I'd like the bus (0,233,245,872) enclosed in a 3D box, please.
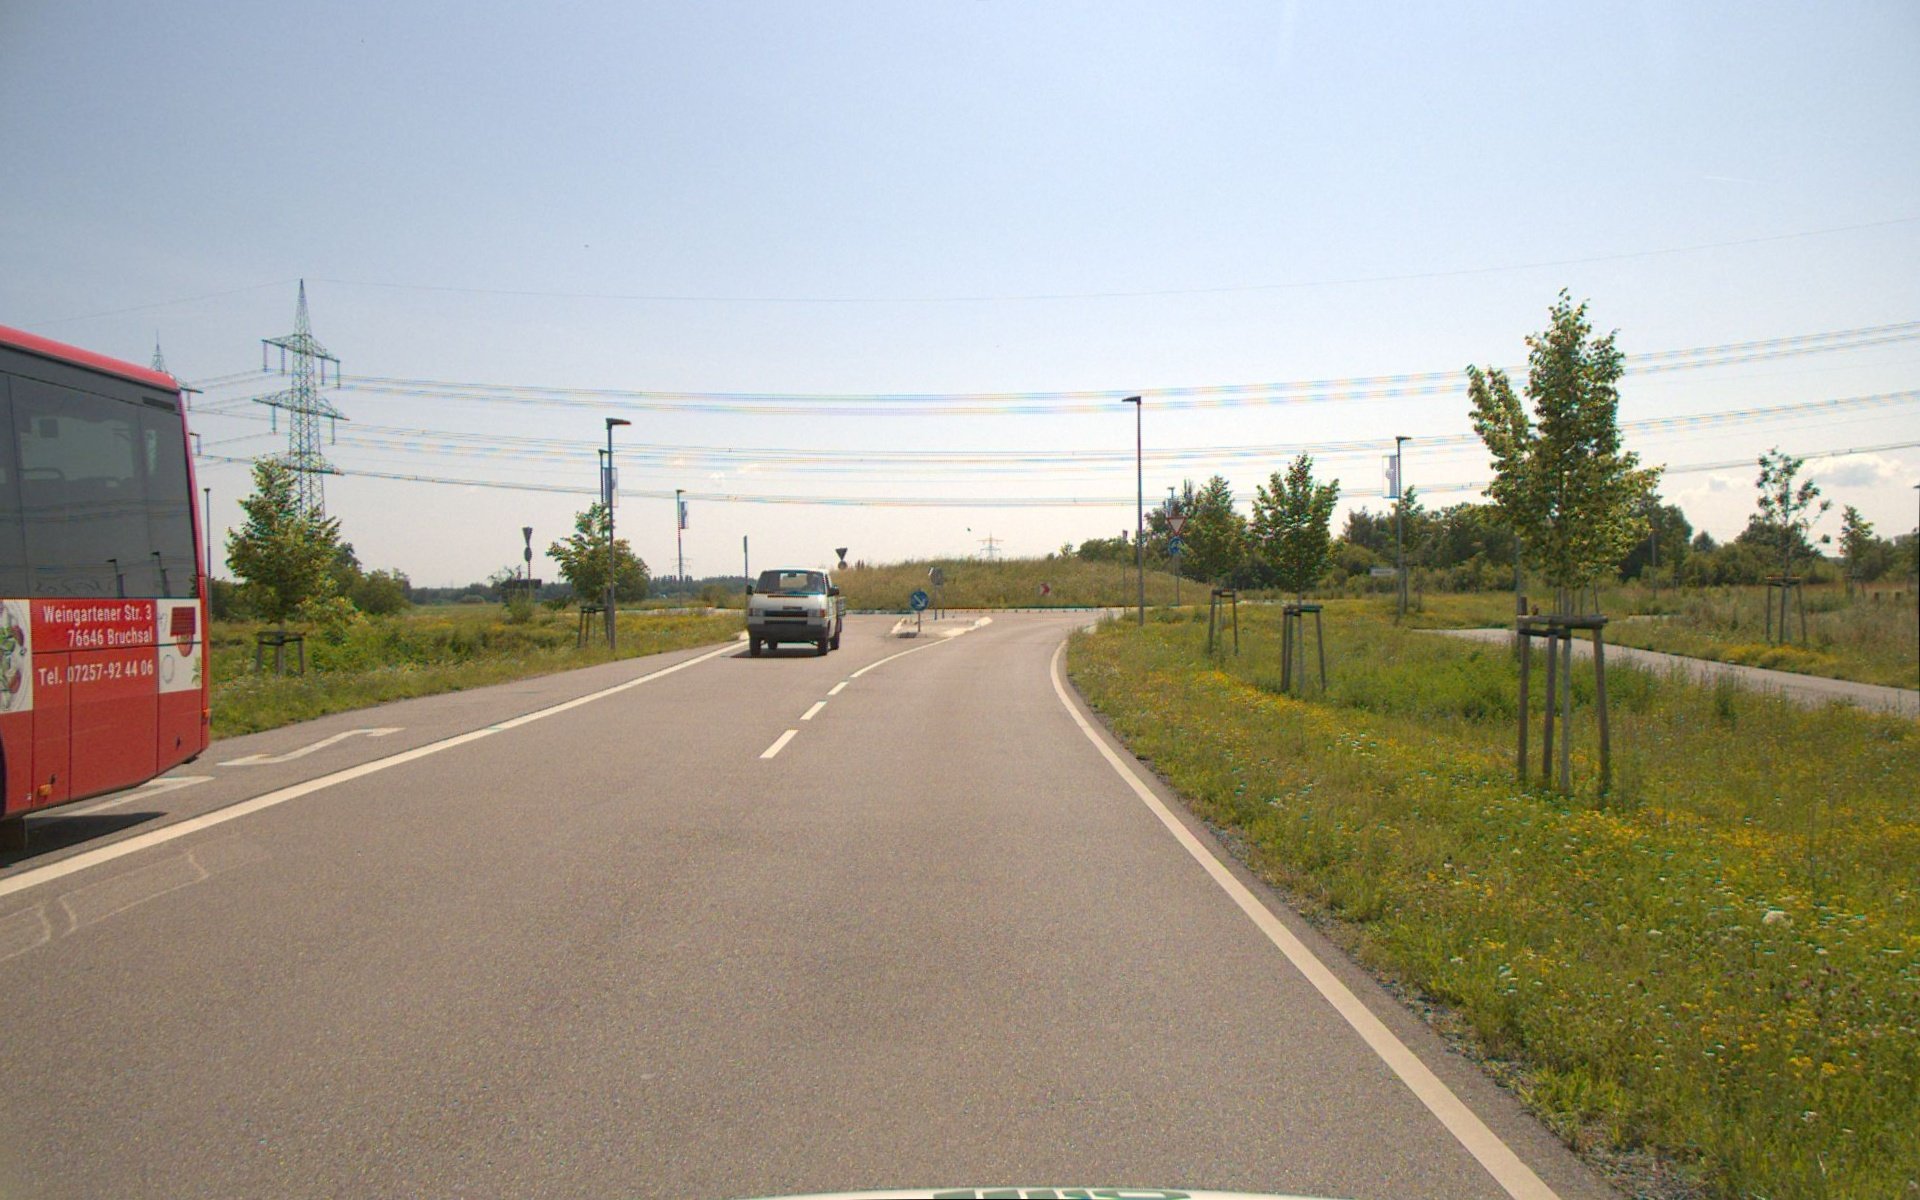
[{"bbox_3d":[-6.269,-0.198,5.594,2.738,3.344,12.224,-1,1,-2],"label":"bus"}]

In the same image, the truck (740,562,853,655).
[{"bbox_3d":[-3.756,0.151,38.932,1.911,2.019,5.646,1,1,2],"label":"truck"}]
